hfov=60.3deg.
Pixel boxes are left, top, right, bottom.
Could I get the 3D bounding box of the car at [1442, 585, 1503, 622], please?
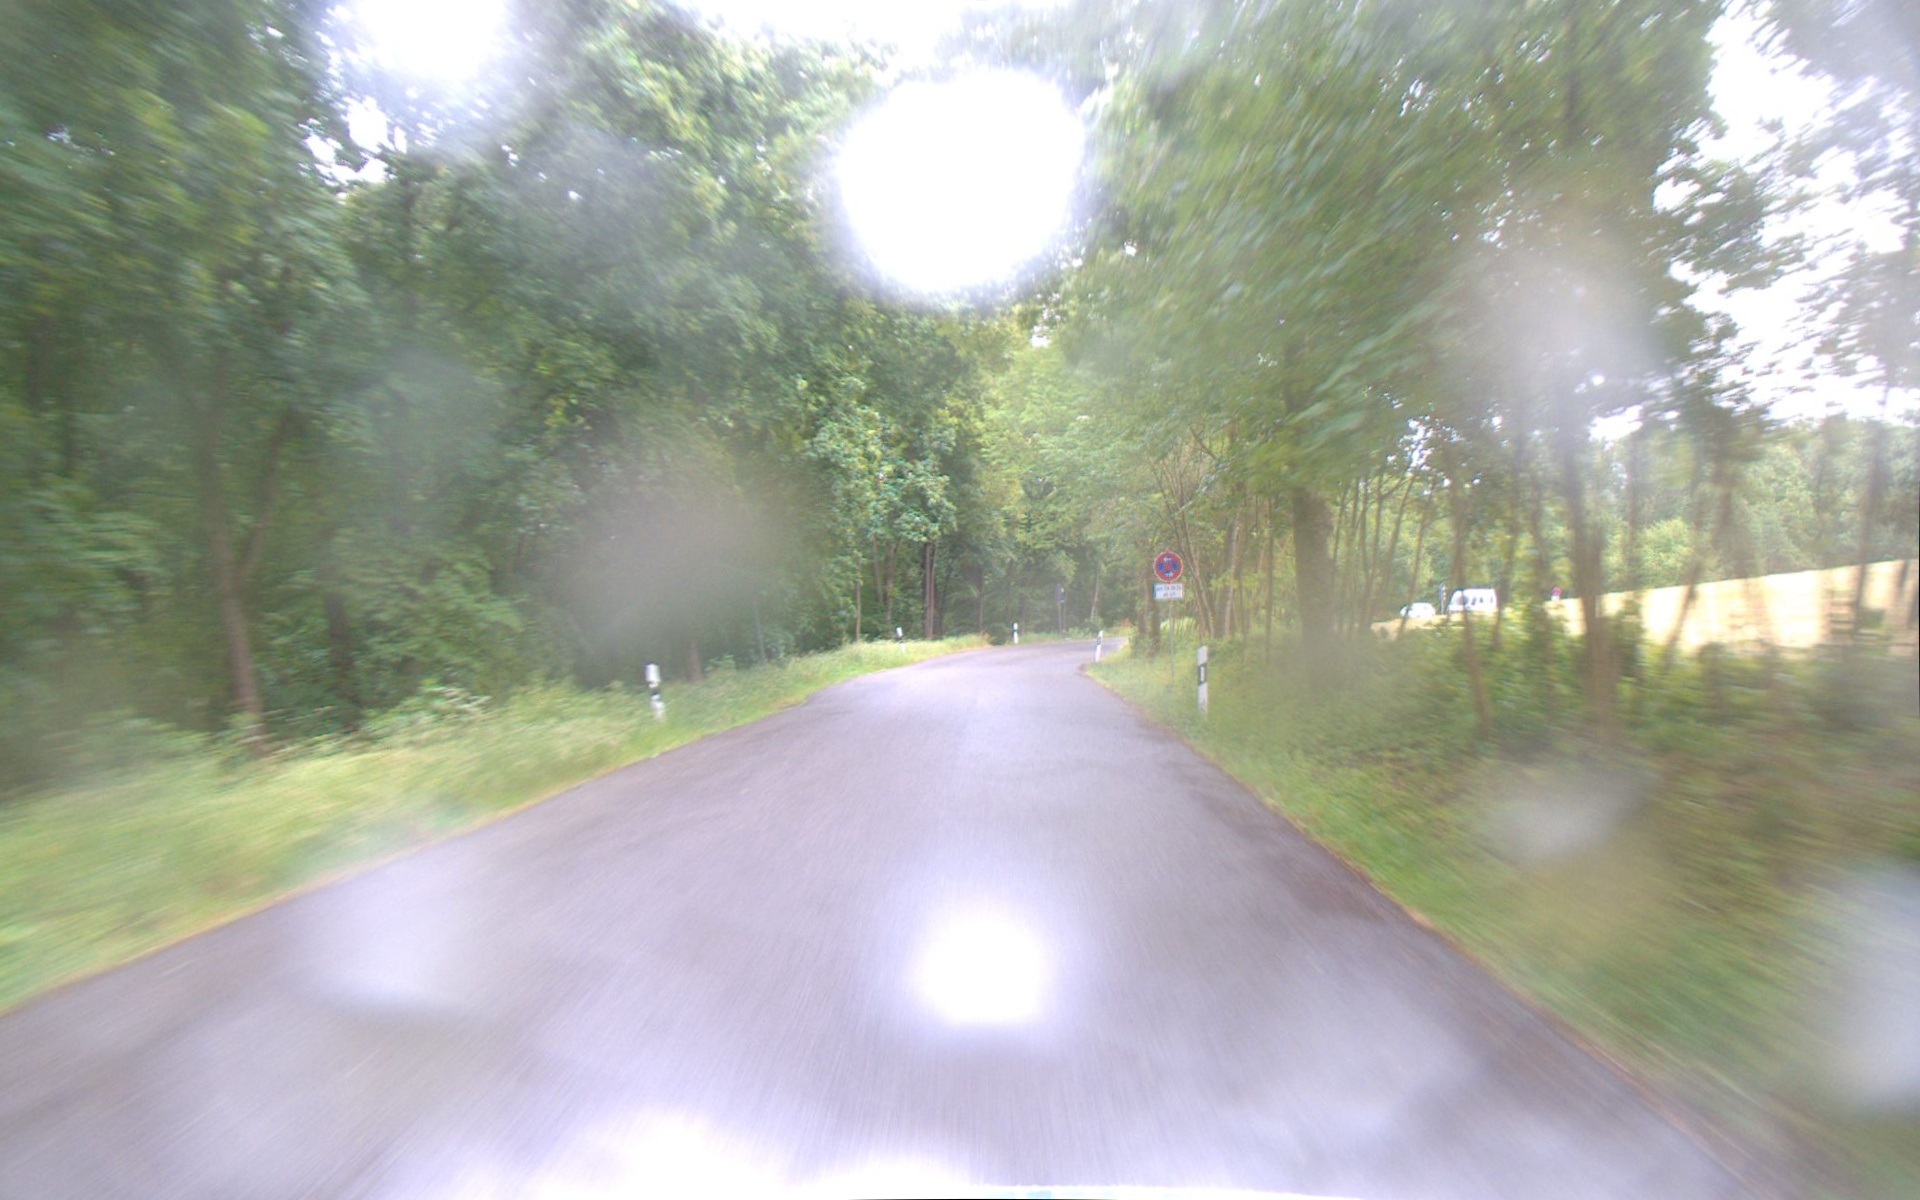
[{"bbox_3d":[42.001,0.288,135.539,2.241,2.744,6.010,-3,-1,43],"label":"car"}]
